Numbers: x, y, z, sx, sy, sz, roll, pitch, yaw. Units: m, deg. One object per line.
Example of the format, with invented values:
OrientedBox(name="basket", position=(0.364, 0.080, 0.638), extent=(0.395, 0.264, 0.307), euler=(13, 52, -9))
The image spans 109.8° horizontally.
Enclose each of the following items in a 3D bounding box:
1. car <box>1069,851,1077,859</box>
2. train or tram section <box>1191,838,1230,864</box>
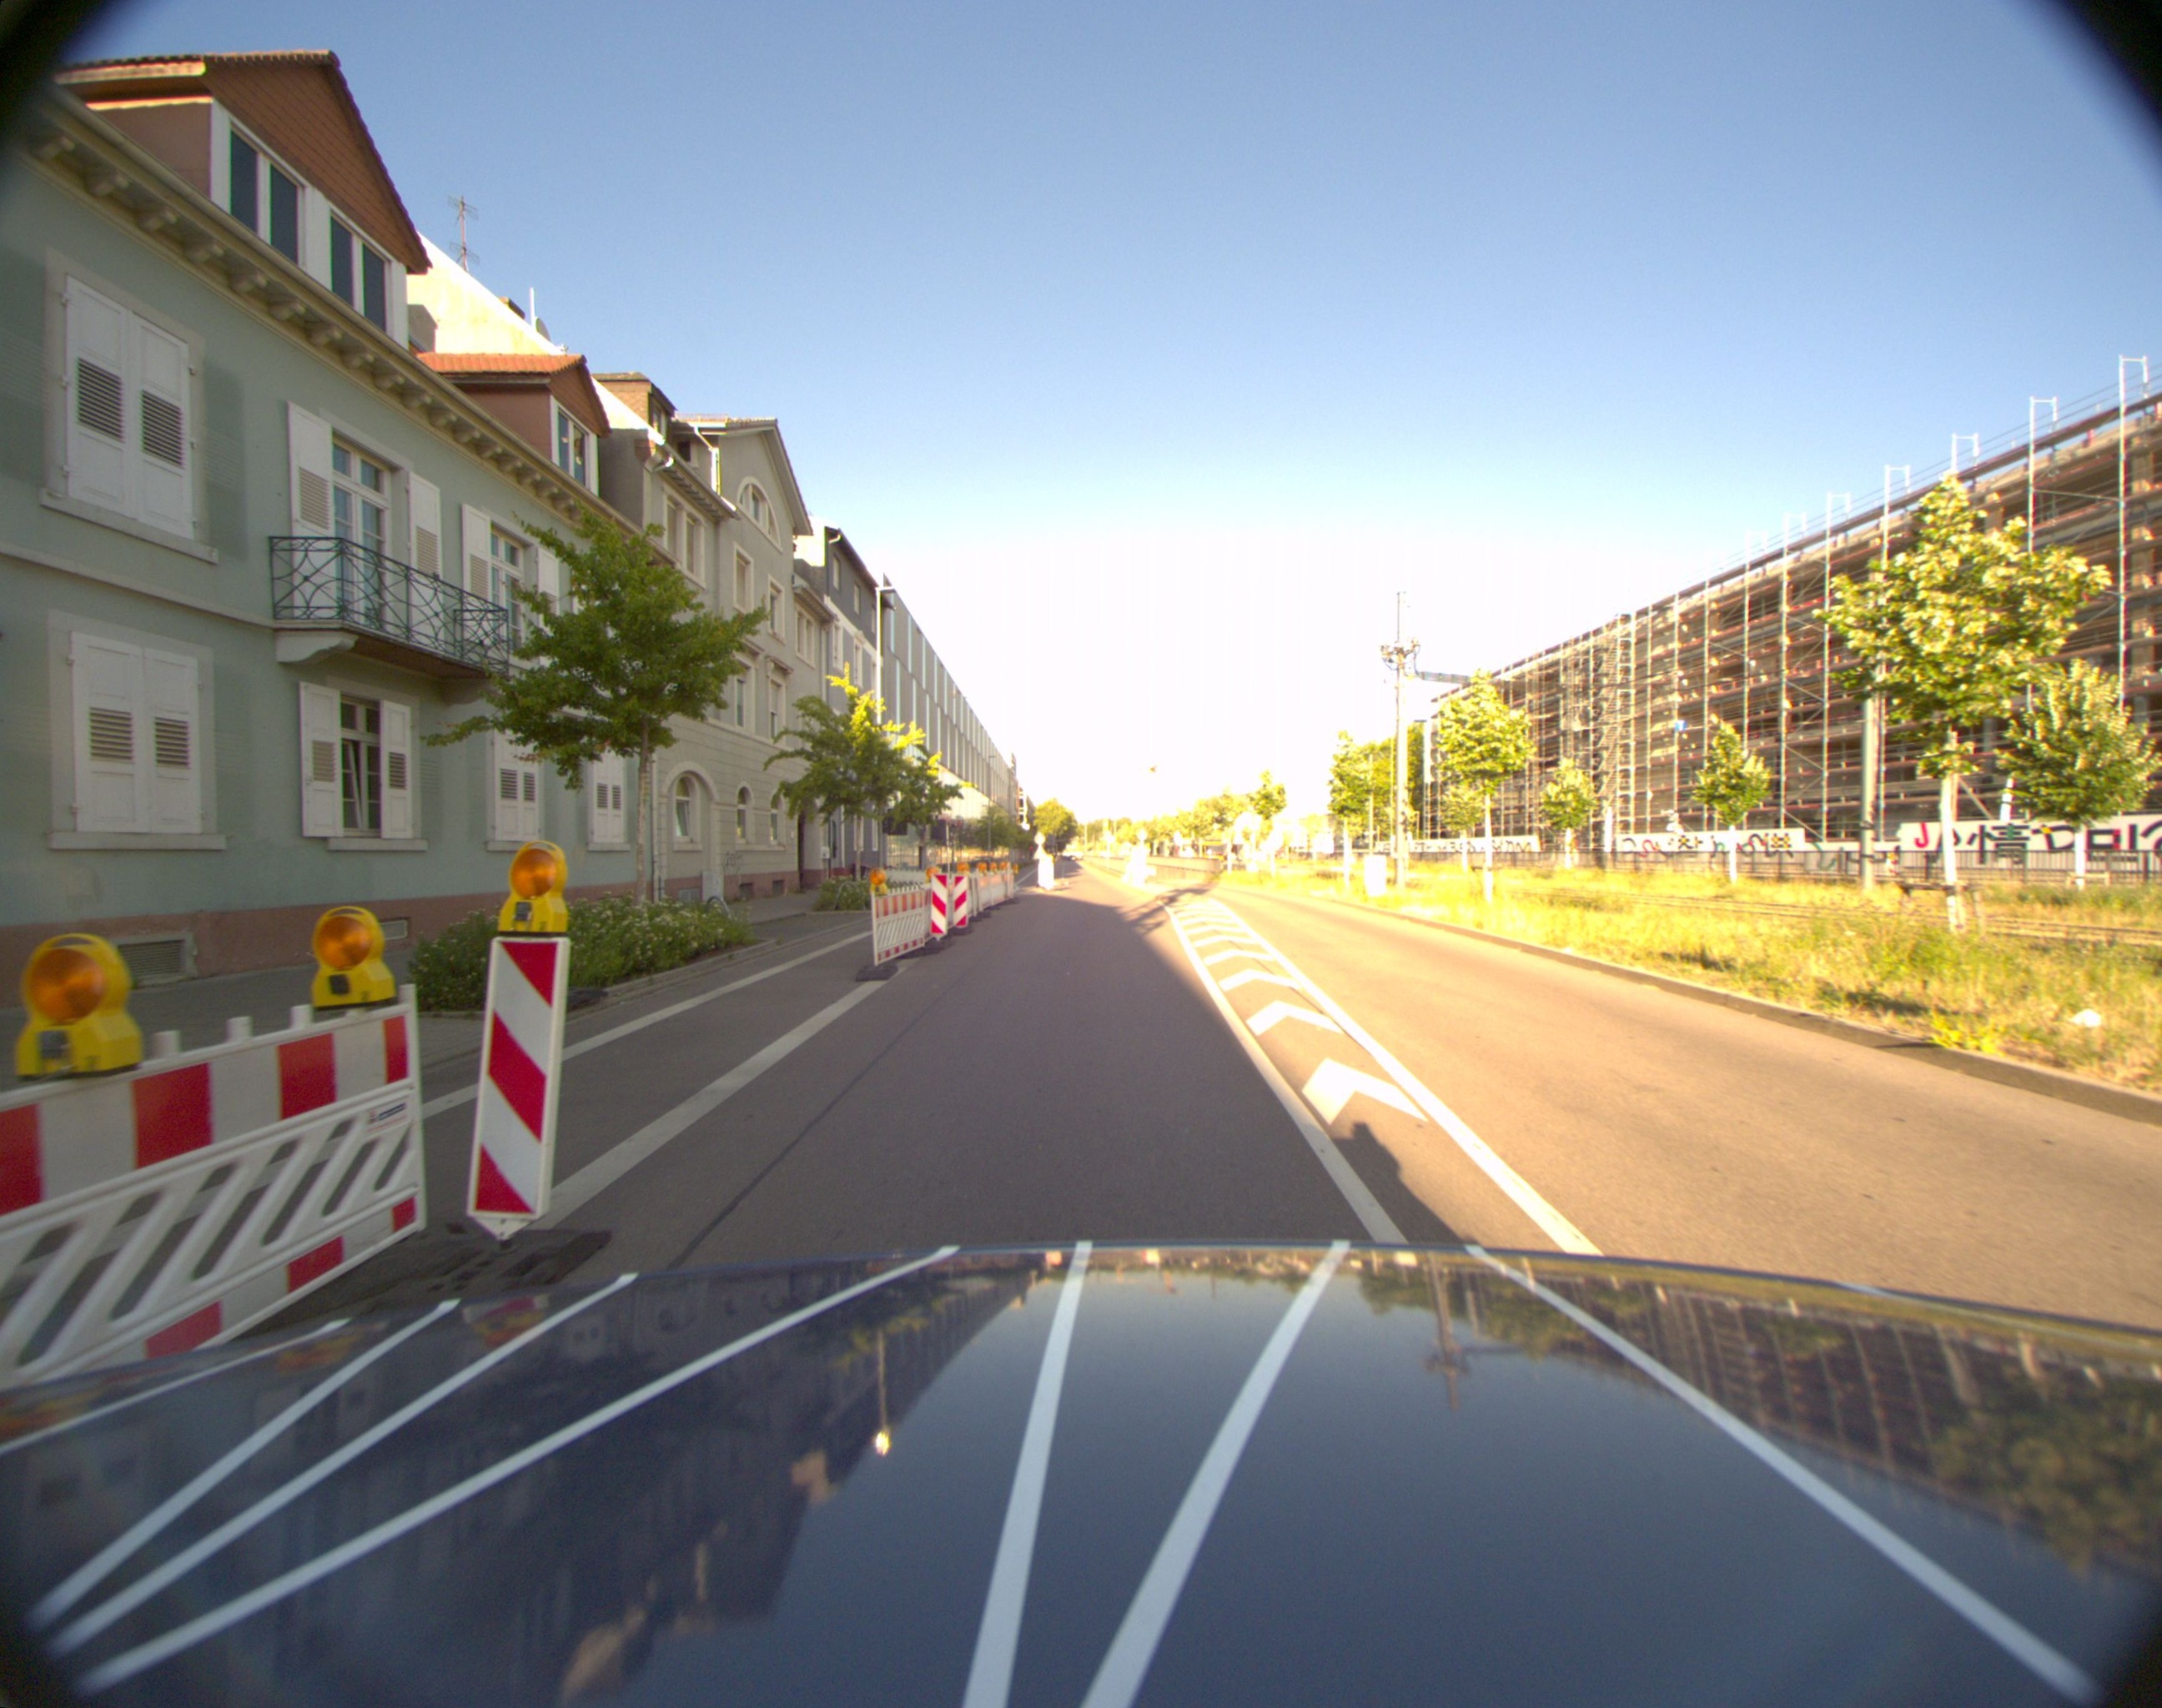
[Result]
OrientedBox(name="car", position=(-2.036, 0.178, 199.233), extent=(1.941, 2.002, 3.826), euler=(-1, 1, -2))
OrientedBox(name="train or tram section", position=(17.930, -0.451, 106.105), extent=(2.954, 3.378, 12.630), euler=(-2, 1, -1))
